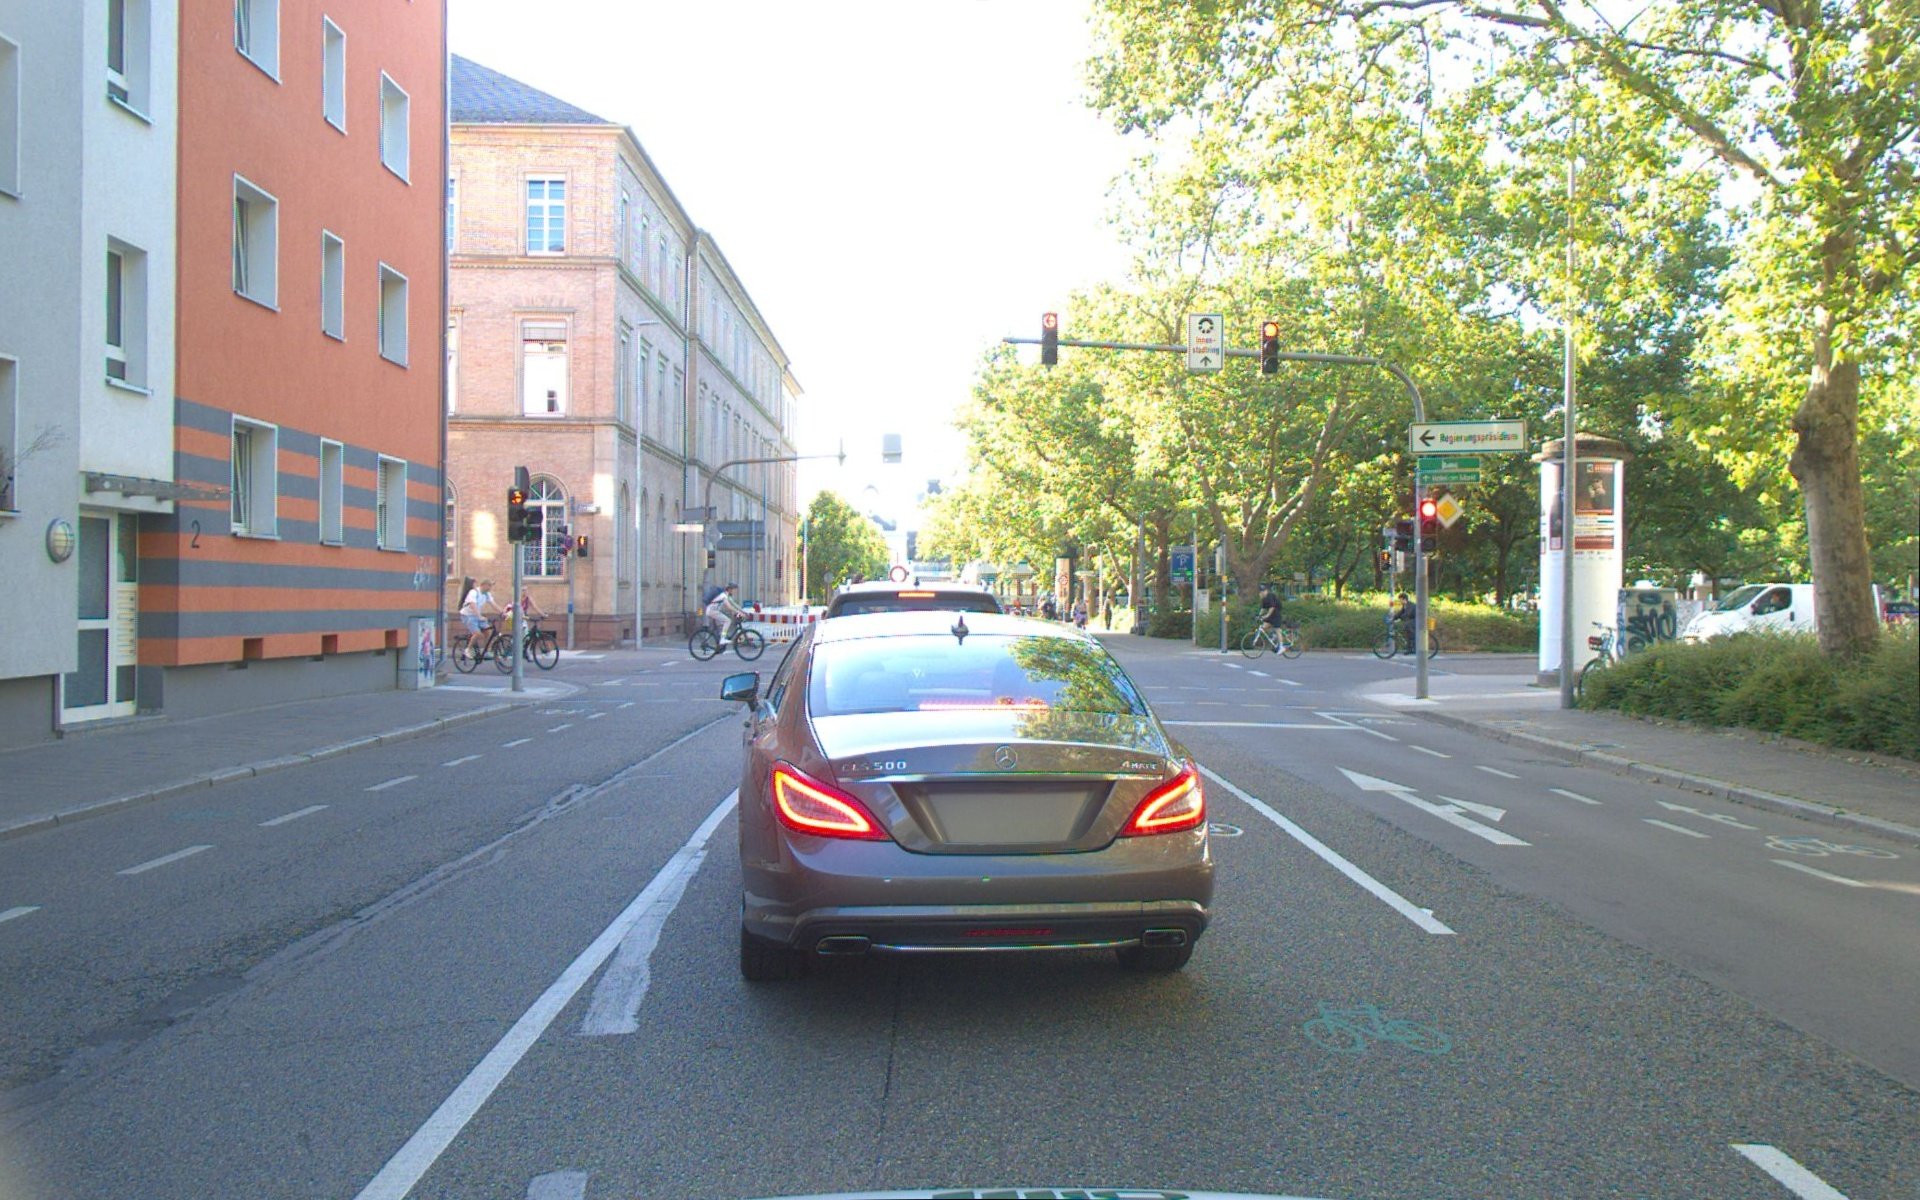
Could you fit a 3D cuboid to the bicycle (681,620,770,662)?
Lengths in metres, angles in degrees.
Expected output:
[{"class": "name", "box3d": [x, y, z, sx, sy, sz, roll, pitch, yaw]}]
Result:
[{"class": "bicycle", "box3d": [-5.243, 0.910, 37.041, 1.853, 0.898, 0.726, 0, 0, 3]}]

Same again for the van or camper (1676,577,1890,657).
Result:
[{"class": "van or camper", "box3d": [21.007, 0.420, 42.343, 4.486, 1.975, 2.000, 0, 0, -1]}]

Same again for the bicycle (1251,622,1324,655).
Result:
[{"class": "bicycle", "box3d": [8.673, 1.015, 43.863, 1.856, 0.851, 0.457, 0, 0, -9]}]

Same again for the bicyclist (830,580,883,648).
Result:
[{"class": "bicyclist", "box3d": [-2.202, 0.301, 35.305, 1.081, 1.427, 0.657, 0, 0, -1]}]

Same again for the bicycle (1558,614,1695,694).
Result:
[{"class": "bicycle", "box3d": [9.581, 0.767, 23.798, 1.766, 1.116, 0.510, 0, 0, 2]}]

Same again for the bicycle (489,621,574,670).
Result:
[{"class": "bicycle", "box3d": [-8.831, 0.930, 34.054, 1.826, 0.945, 0.693, 0, 0, 36]}]

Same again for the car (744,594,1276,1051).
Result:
[{"class": "car", "box3d": [-0.093, 0.720, 7.654, 1.769, 1.482, 4.343, 0, 0, -8]}]

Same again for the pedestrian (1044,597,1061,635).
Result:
[{"class": "pedestrian", "box3d": [3.767, 0.659, 67.632, 0.635, 1.529, 0.637, 0, 0, -1]}]

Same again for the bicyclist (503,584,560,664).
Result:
[{"class": "bicyclist", "box3d": [-8.818, 0.486, 34.044, 0.962, 1.605, 0.684, 0, 0, 35]}]

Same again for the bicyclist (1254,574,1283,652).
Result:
[{"class": "bicyclist", "box3d": [8.173, 0.350, 43.810, 0.641, 2.049, 0.438, 0, 0, -16]}]

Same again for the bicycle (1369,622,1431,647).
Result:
[{"class": "bicycle", "box3d": [11.797, 0.925, 44.366, 1.554, 0.646, 0.496, 0, 0, 3]}]

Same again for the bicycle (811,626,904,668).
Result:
[{"class": "bicycle", "box3d": [-2.180, 1.001, 35.294, 1.934, 0.851, 0.677, 0, 0, 0]}]

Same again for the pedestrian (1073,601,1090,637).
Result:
[{"class": "pedestrian", "box3d": [4.934, 0.781, 67.156, 0.635, 1.458, 0.659, 0, 0, -1]}]

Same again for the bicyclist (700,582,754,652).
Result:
[{"class": "bicyclist", "box3d": [-5.208, 0.375, 37.044, 1.052, 1.546, 0.717, 0, 0, 4]}]

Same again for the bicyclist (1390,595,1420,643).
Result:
[{"class": "bicyclist", "box3d": [11.930, 0.512, 44.345, 0.689, 1.282, 0.458, 0, 0, 3]}]

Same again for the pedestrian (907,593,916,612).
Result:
[{"class": "pedestrian", "box3d": [-4.214, 0.197, 142.830, 0.785, 1.604, 0.844, 0, 0, -1]}]

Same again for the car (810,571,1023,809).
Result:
[{"class": "car", "box3d": [-0.401, 0.635, 13.669, 1.487, 1.675, 3.878, 1, 0, -3]}]

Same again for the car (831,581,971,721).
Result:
[{"class": "car", "box3d": [-0.782, 0.649, 23.243, 1.783, 1.793, 3.999, 0, 0, -1]}]

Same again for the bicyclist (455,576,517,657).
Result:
[{"class": "bicyclist", "box3d": [-9.381, 0.314, 32.723, 0.820, 1.582, 0.844, 0, 0, 28]}]

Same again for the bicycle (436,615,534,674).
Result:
[{"class": "bicycle", "box3d": [-9.397, 0.866, 32.726, 1.796, 1.097, 0.864, 0, 0, 29]}]
